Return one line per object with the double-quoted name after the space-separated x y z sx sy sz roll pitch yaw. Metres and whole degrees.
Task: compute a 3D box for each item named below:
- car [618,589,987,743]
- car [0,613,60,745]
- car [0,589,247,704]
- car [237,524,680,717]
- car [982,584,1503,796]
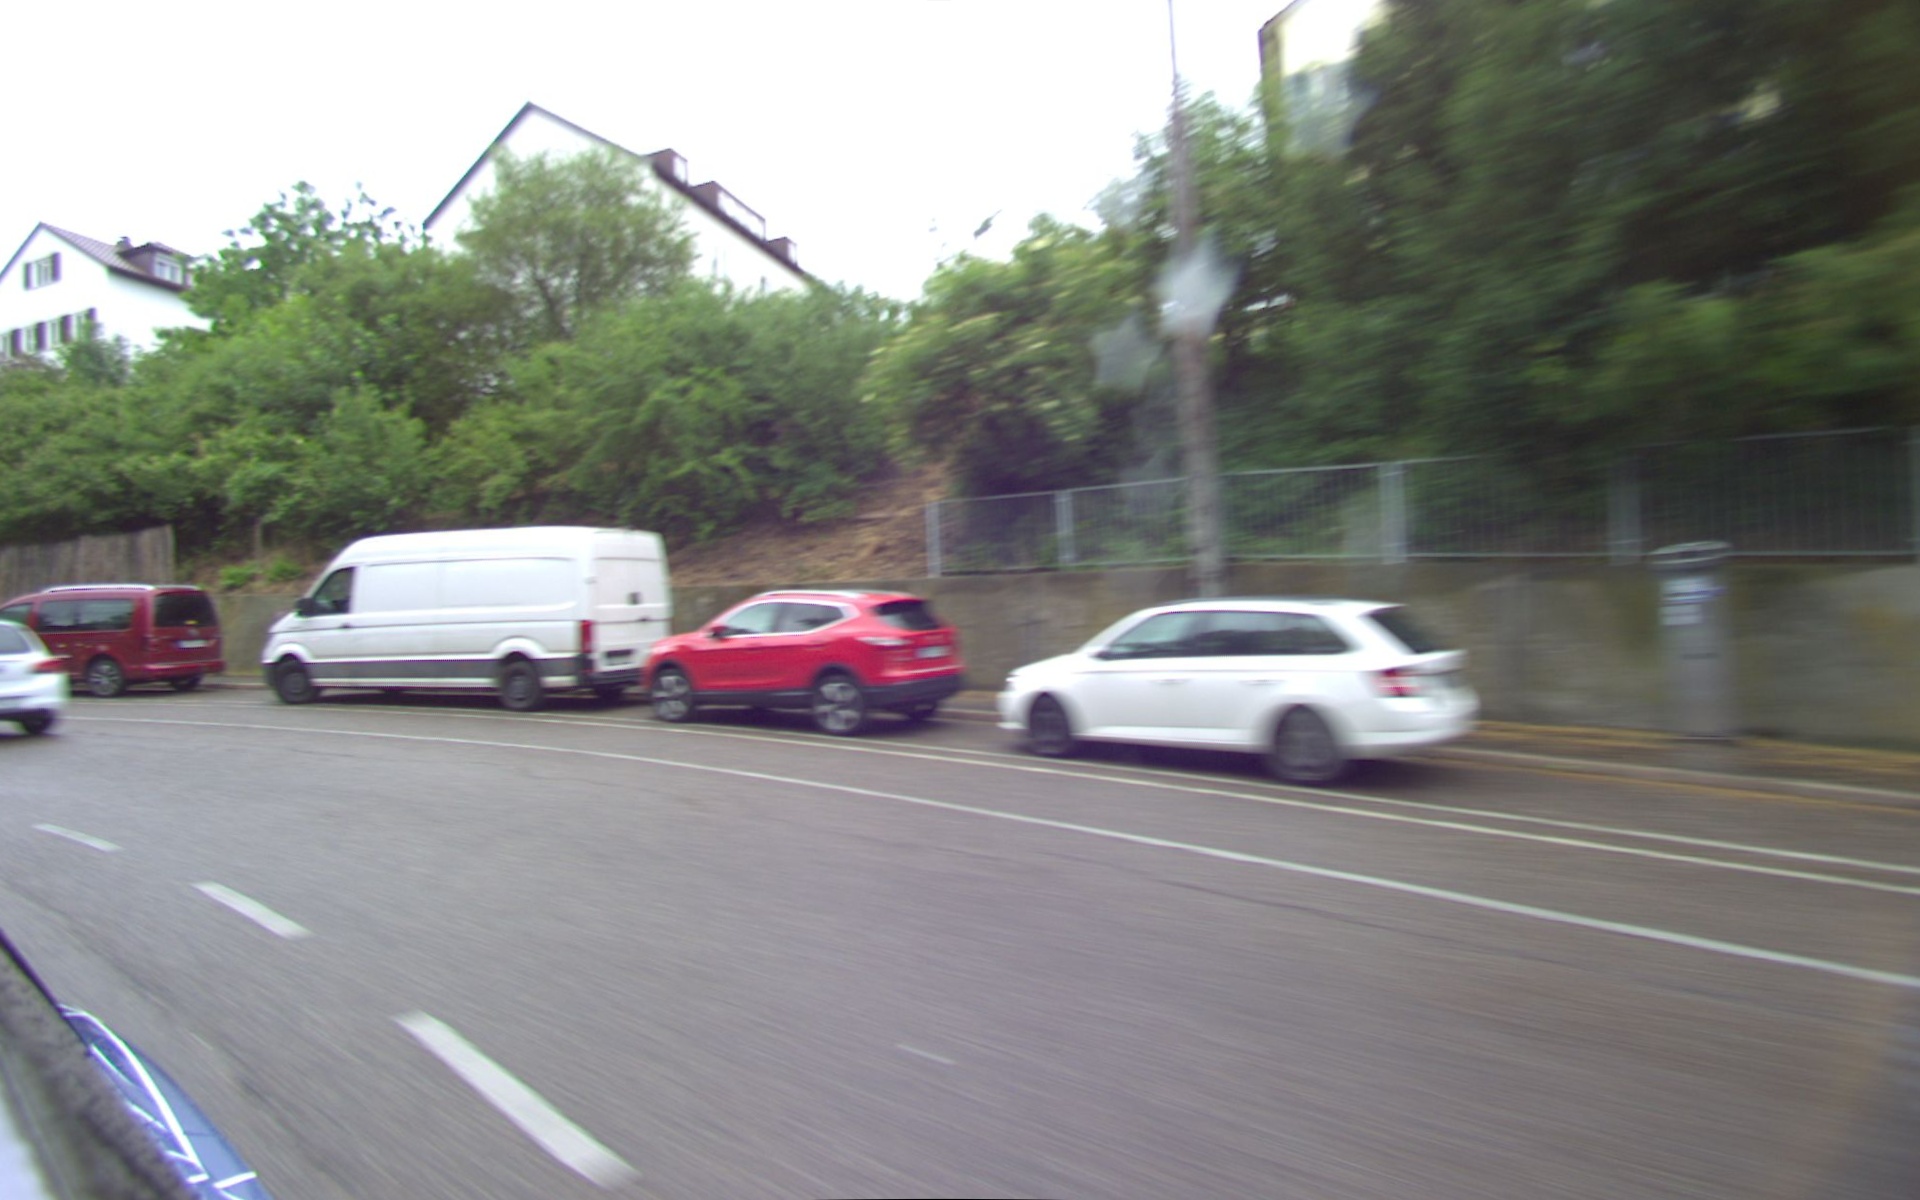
-2.018 0.730 12.449 4.418 1.598 1.762 -1 -1 32 "car"
-12.915 0.928 12.046 4.002 1.507 1.597 -1 -1 20 "car"
-15.644 0.792 17.928 4.759 1.890 1.997 0 -1 4 "car"
-7.755 0.325 15.549 6.771 2.550 2.028 -1 -1 20 "car"
2.380 0.673 9.172 4.195 1.490 1.720 -2 0 40 "car"
